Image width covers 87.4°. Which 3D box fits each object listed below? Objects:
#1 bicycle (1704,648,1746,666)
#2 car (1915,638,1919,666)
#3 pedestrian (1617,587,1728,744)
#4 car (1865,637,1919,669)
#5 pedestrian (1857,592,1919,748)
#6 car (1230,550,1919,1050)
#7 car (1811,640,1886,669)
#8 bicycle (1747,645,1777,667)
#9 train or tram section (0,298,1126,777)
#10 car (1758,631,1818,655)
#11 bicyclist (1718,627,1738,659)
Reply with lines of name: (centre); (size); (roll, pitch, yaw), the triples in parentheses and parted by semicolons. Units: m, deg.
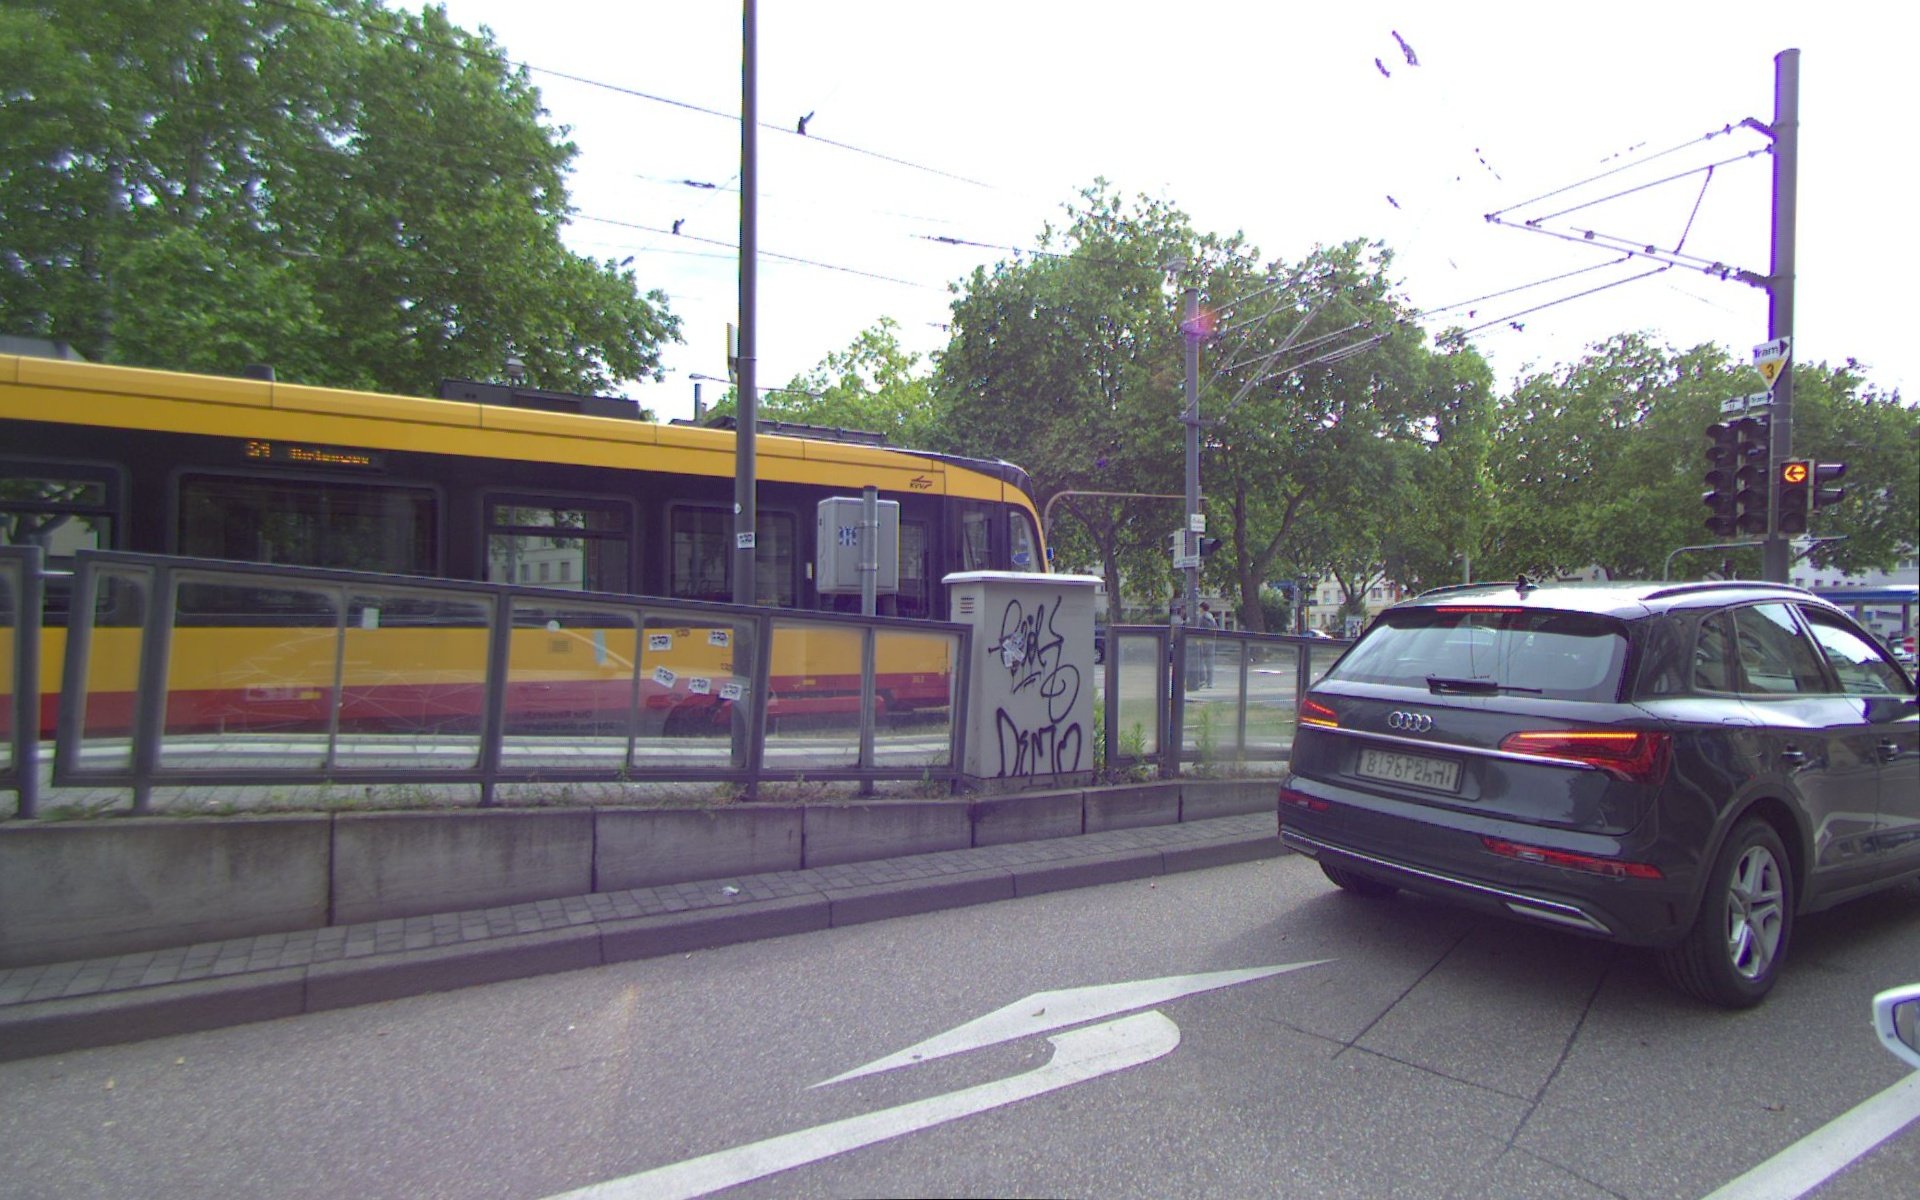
bicycle: (38.776, 2.881, 50.941); (0.644, 0.783, 1.682); (2, 0, -9)
car: (55.772, 2.974, 56.567); (3.792, 1.578, 1.885); (2, 0, -30)
pedestrian: (7.971, 0.709, 11.251); (0.722, 1.683, 0.750); (1, 0, -30)
car: (49.912, 2.792, 53.215); (3.792, 1.578, 1.885); (2, 0, -30)
pedestrian: (11.546, 0.835, 12.114); (0.999, 1.837, 0.582); (2, 0, 38)
car: (3.634, 0.704, 5.190); (4.307, 1.622, 1.870); (2, -1, -31)
car: (44.252, 2.713, 50.009); (3.953, 1.343, 1.626); (2, 0, -31)
bicycle: (39.875, 2.789, 49.945); (1.914, 1.031, 0.519); (2, 0, -30)
train or tram section: (-5.340, -0.400, 10.551); (15.665, 3.636, 3.045); (2, 0, -31)
car: (57.634, 2.988, 69.882); (3.953, 1.550, 1.984); (2, 0, -30)
bicyclist: (38.914, 2.199, 50.878); (0.611, 1.588, 0.585); (1, 0, -30)
